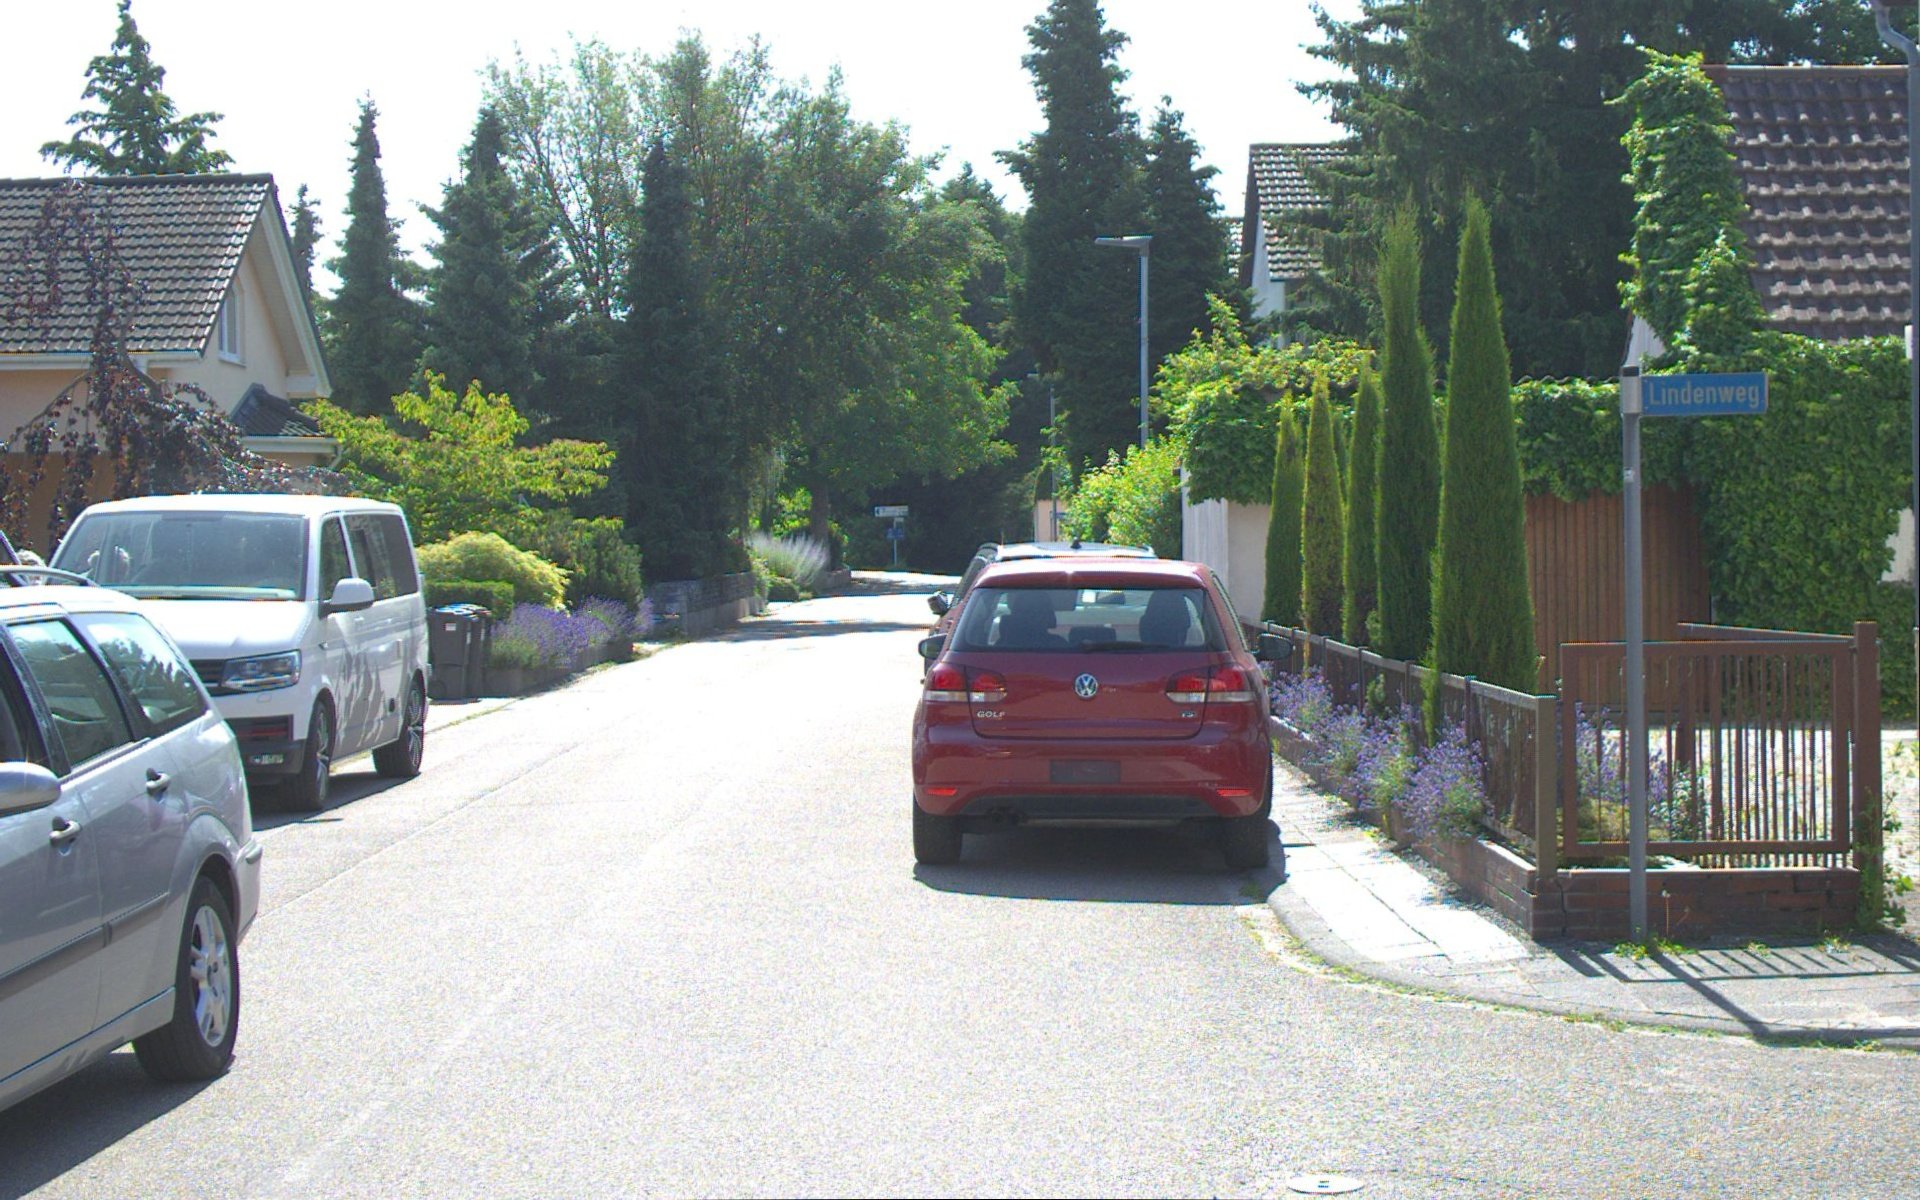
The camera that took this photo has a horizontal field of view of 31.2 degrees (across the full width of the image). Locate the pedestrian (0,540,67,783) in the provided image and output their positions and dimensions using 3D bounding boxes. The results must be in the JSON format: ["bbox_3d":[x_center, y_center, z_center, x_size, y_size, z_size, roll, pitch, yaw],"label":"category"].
[{"bbox_3d":[-6.260,0.381,22.186,0.718,1.533,0.641,1,2,34],"label":"pedestrian"}]

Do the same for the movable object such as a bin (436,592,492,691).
[{"bbox_3d":[-5.187,0.431,35.958,0.494,1.021,0.447,-1,1,1],"label":"movable object such as a bin"}]

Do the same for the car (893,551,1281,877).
[{"bbox_3d":[0.717,0.499,17.981,1.775,1.474,4.000,1,1,4],"label":"car"}]

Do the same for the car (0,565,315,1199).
[{"bbox_3d":[-3.132,0.716,8.873,1.753,1.482,4.375,-3,1,4],"label":"car"}]

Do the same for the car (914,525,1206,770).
[{"bbox_3d":[0.633,0.282,24.723,1.822,1.610,4.000,0,1,-2],"label":"car"}]

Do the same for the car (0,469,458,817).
[{"bbox_3d":[-4.673,0.214,22.351,1.929,2.007,4.896,0,1,2],"label":"car"}]

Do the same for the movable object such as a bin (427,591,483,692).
[{"bbox_3d":[-5.210,0.430,35.496,0.494,1.021,0.447,-1,1,1],"label":"movable object such as a bin"}]
